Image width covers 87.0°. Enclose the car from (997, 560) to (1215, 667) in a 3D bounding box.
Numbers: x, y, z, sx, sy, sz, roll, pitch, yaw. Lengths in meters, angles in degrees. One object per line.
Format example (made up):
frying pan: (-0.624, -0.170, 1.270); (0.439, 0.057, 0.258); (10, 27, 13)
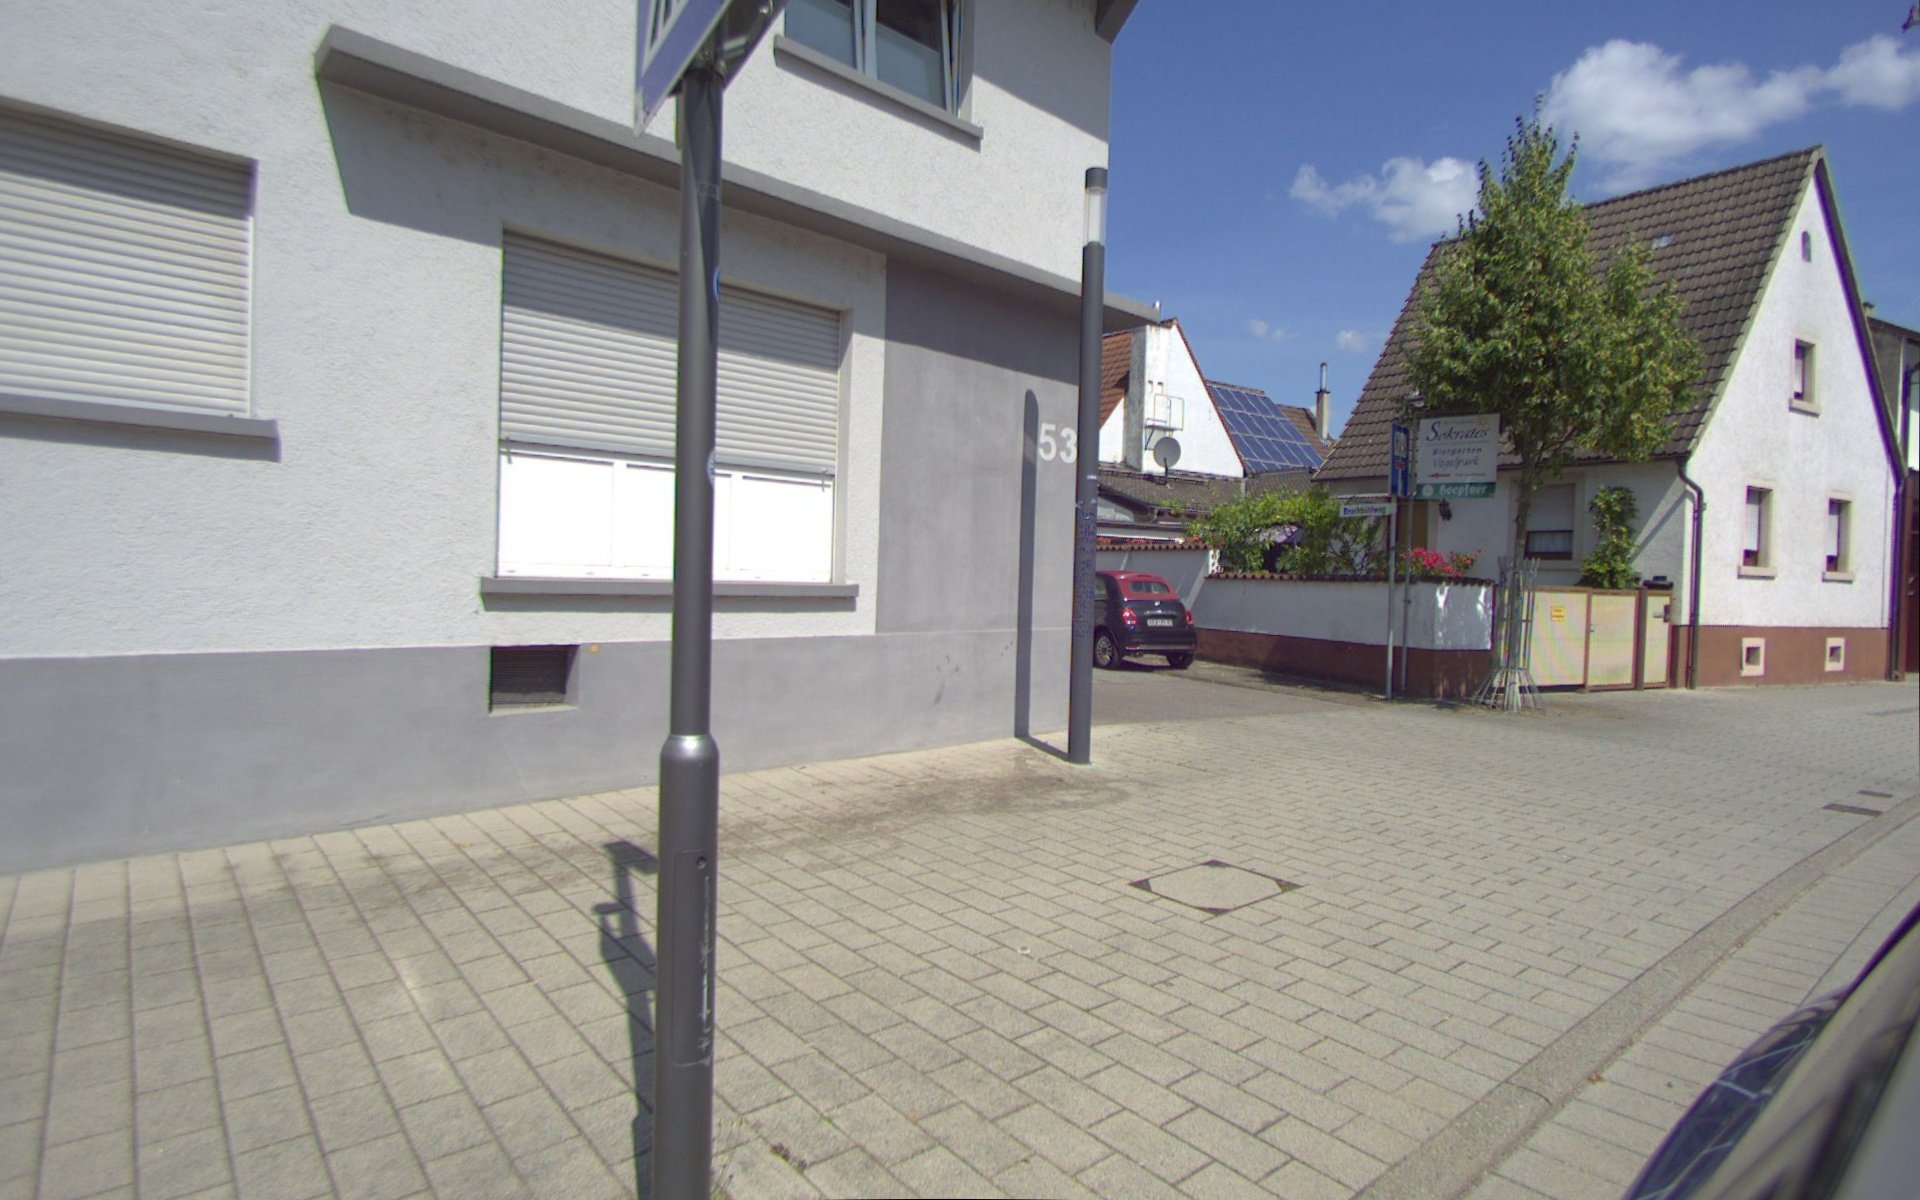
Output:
car: (2.288, 0.141, 16.835); (1.645, 1.538, 3.821); (1, 2, -28)
